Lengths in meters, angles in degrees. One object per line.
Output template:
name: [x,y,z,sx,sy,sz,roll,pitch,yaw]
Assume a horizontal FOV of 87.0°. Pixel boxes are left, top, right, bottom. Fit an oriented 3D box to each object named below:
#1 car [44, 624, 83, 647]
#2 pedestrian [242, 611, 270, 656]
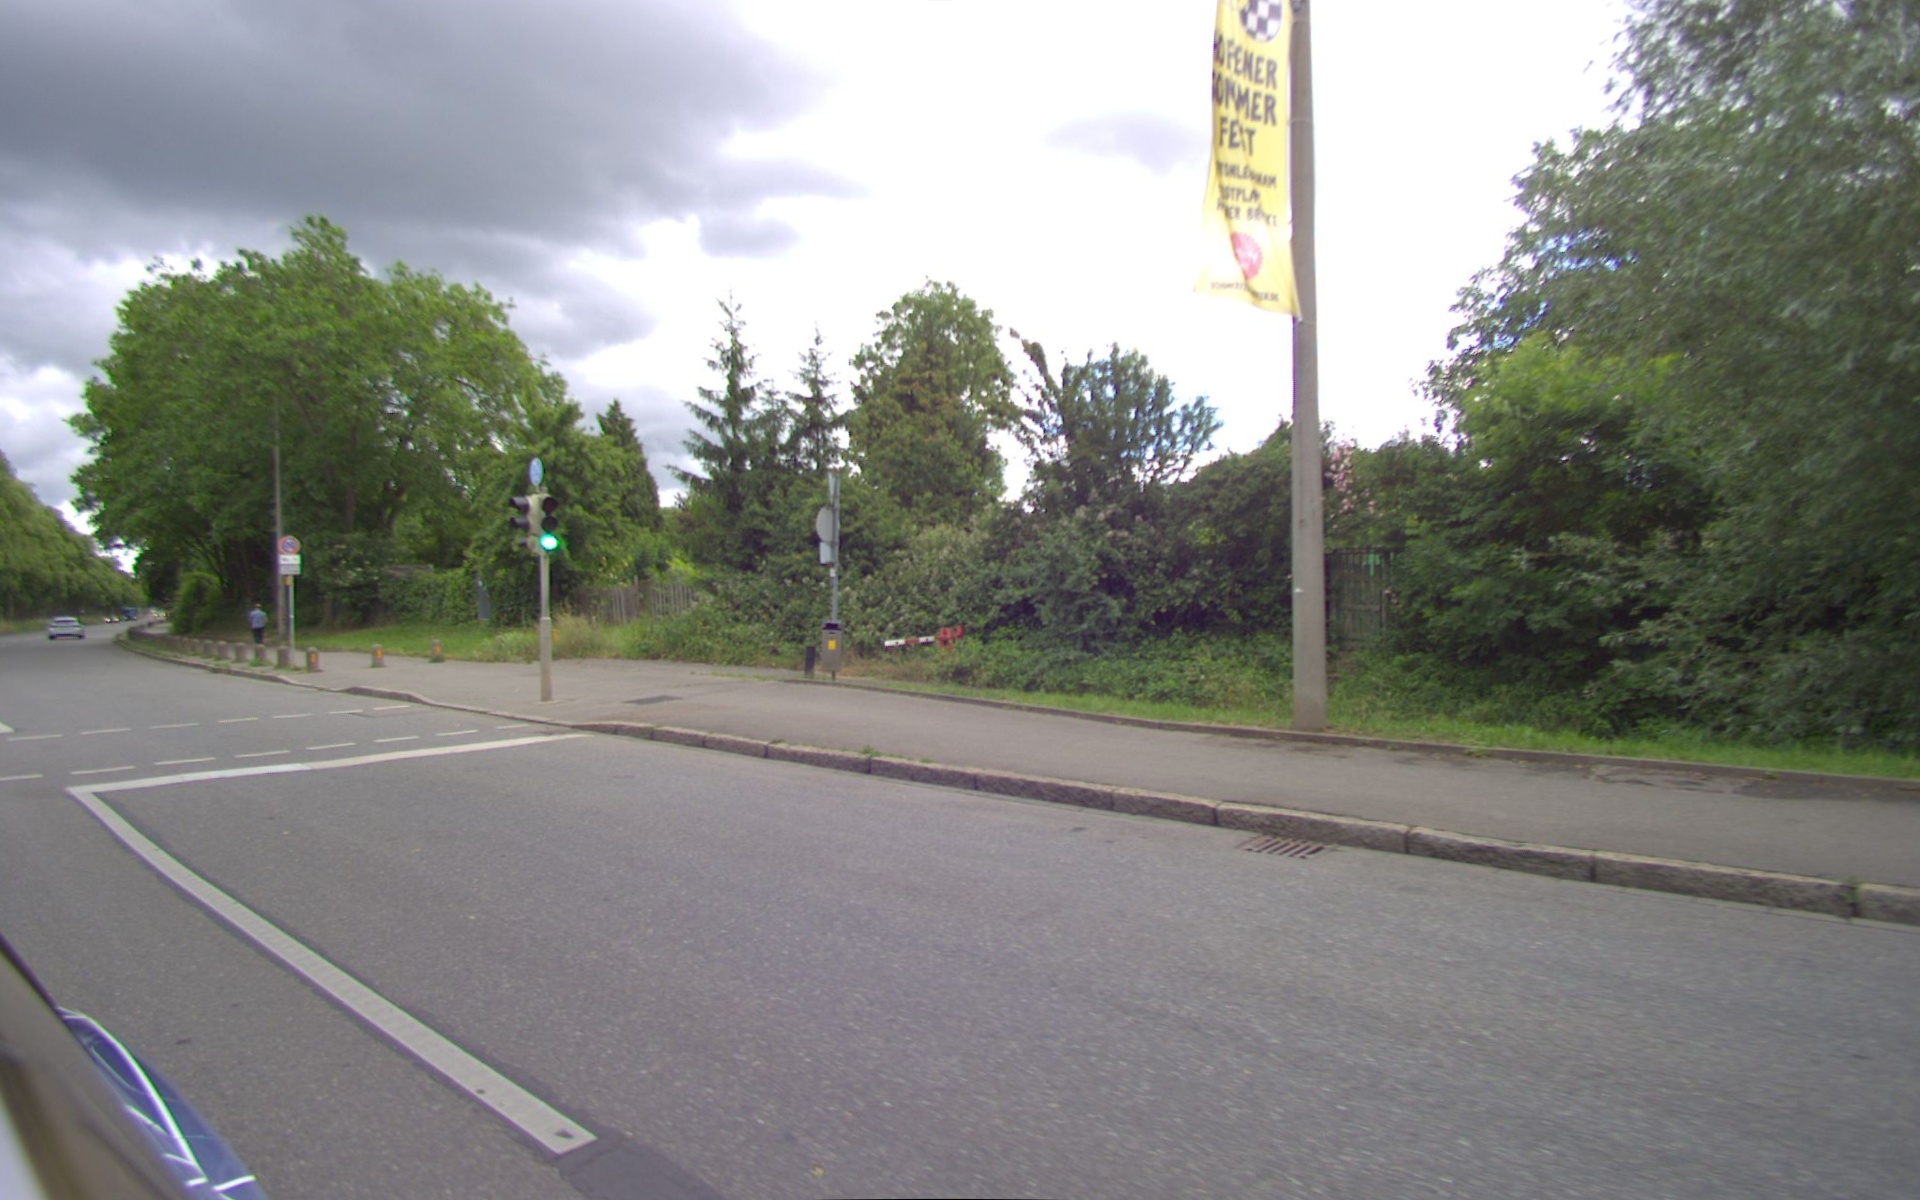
car: [-60.932,2.390,68.764,1.753,1.450,4.364,0,-1,-45]
pedestrian: [-26.484,1.252,38.057,0.681,1.646,0.839,-4,1,-43]
